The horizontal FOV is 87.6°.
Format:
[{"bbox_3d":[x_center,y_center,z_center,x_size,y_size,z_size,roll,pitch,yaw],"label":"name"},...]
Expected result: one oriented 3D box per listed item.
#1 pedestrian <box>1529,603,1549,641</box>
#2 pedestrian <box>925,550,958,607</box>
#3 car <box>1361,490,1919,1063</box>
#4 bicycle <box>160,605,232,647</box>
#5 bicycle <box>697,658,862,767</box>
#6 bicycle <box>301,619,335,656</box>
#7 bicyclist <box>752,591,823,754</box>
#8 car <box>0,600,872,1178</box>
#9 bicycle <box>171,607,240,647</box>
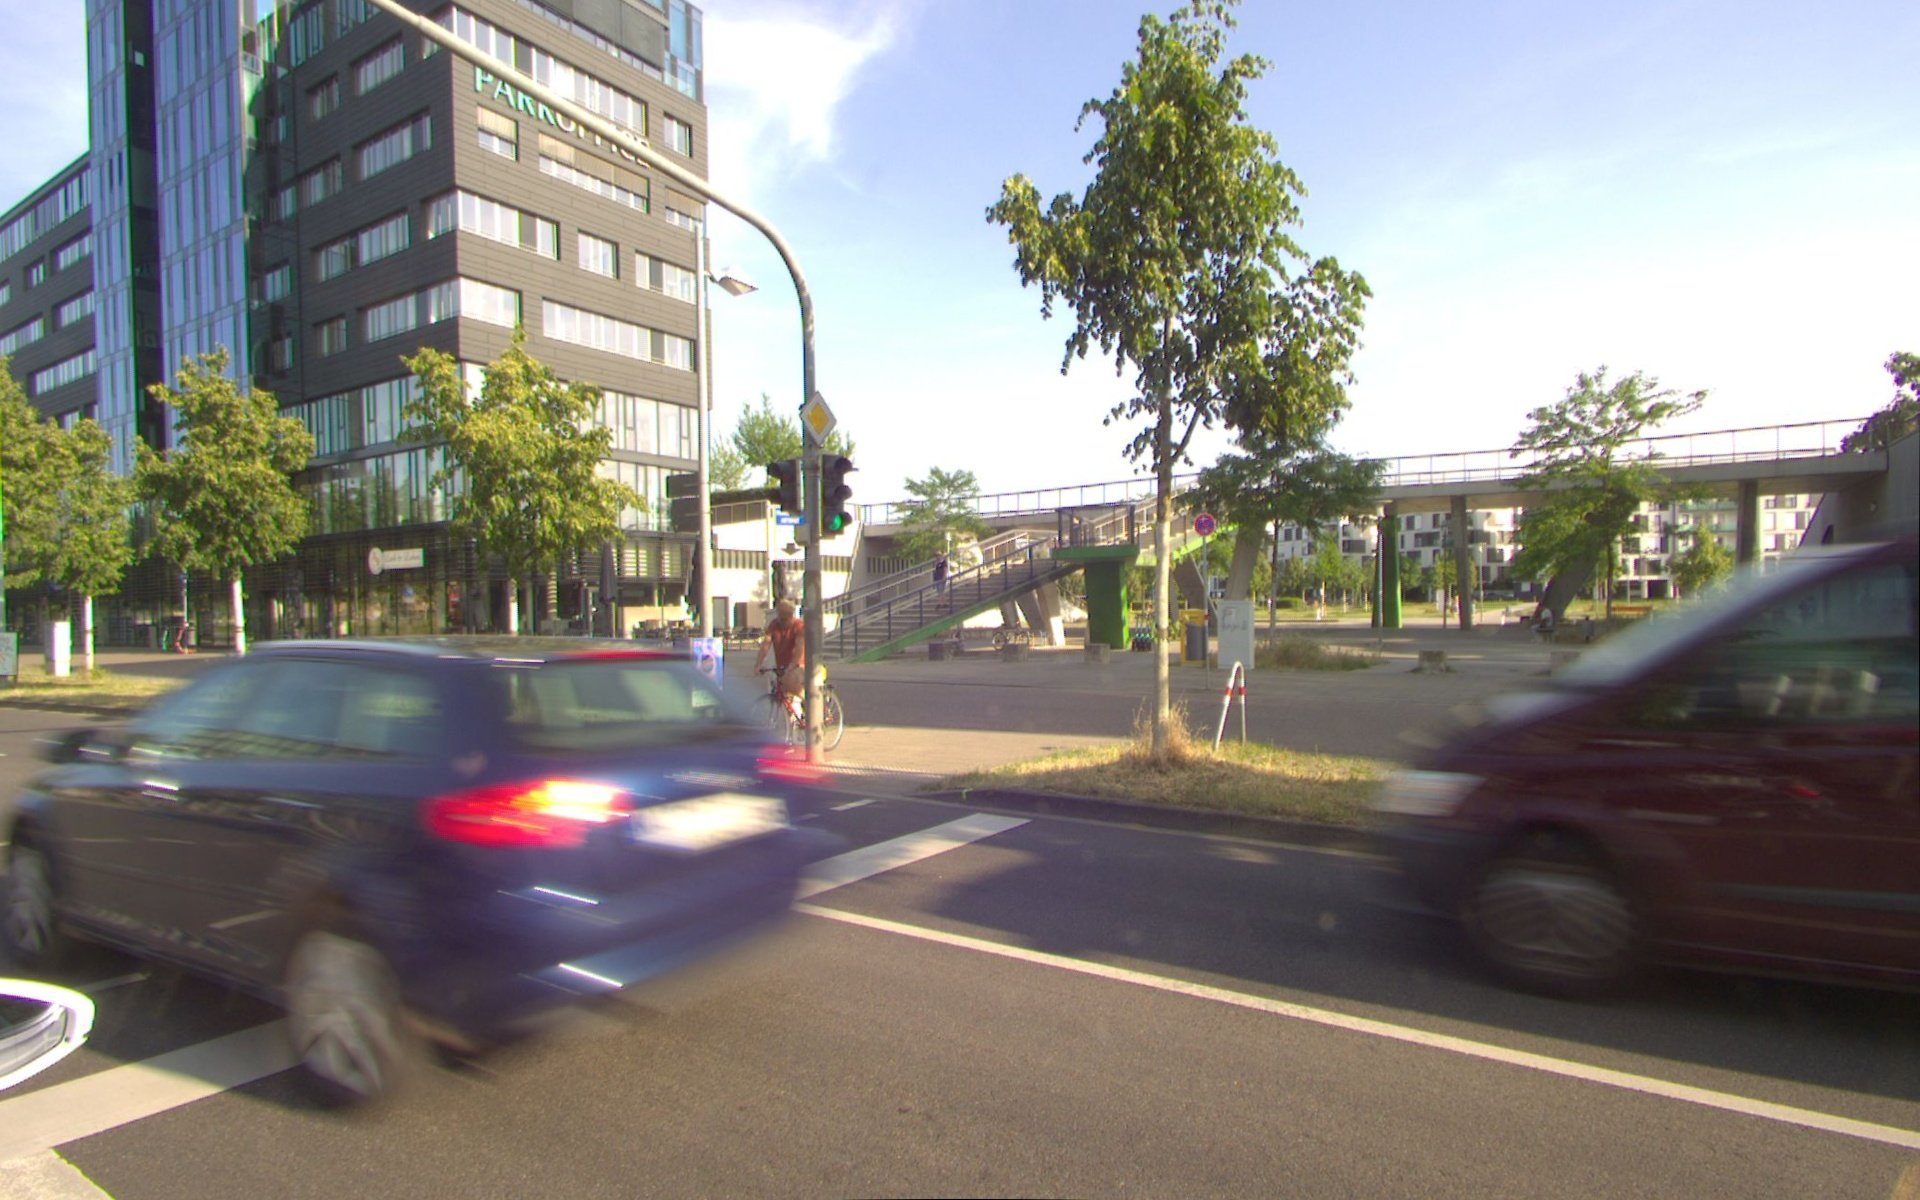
[{"bbox_3d":[19.973,0.773,34.538,0.573,1.310,0.595,-1,-1,33],"label":"pedestrian"},{"bbox_3d":[-0.566,-0.642,31.102,0.689,1.713,0.779,1,-2,-44],"label":"pedestrian"},{"bbox_3d":[4.204,0.603,3.776,4.754,1.915,1.795,-1,-2,33],"label":"car"},{"bbox_3d":[-34.950,1.218,45.836,0.563,1.881,2.551,-1,-2,42],"label":"bicycle"},{"bbox_3d":[-1.912,1.169,10.961,0.563,1.025,2.132,-1,-2,29],"label":"bicycle"},{"bbox_3d":[-24.151,1.400,37.674,1.868,1.363,0.372,-2,-2,34],"label":"bicycle"},{"bbox_3d":[-1.896,0.781,11.009,0.533,1.728,0.574,-1,-1,29],"label":"bicyclist"},{"bbox_3d":[-2.492,0.794,4.332,3.977,1.453,1.749,-1,-2,32],"label":"car"},{"bbox_3d":[-34.204,1.220,45.409,0.548,1.768,2.422,-1,-2,42],"label":"bicycle"}]
